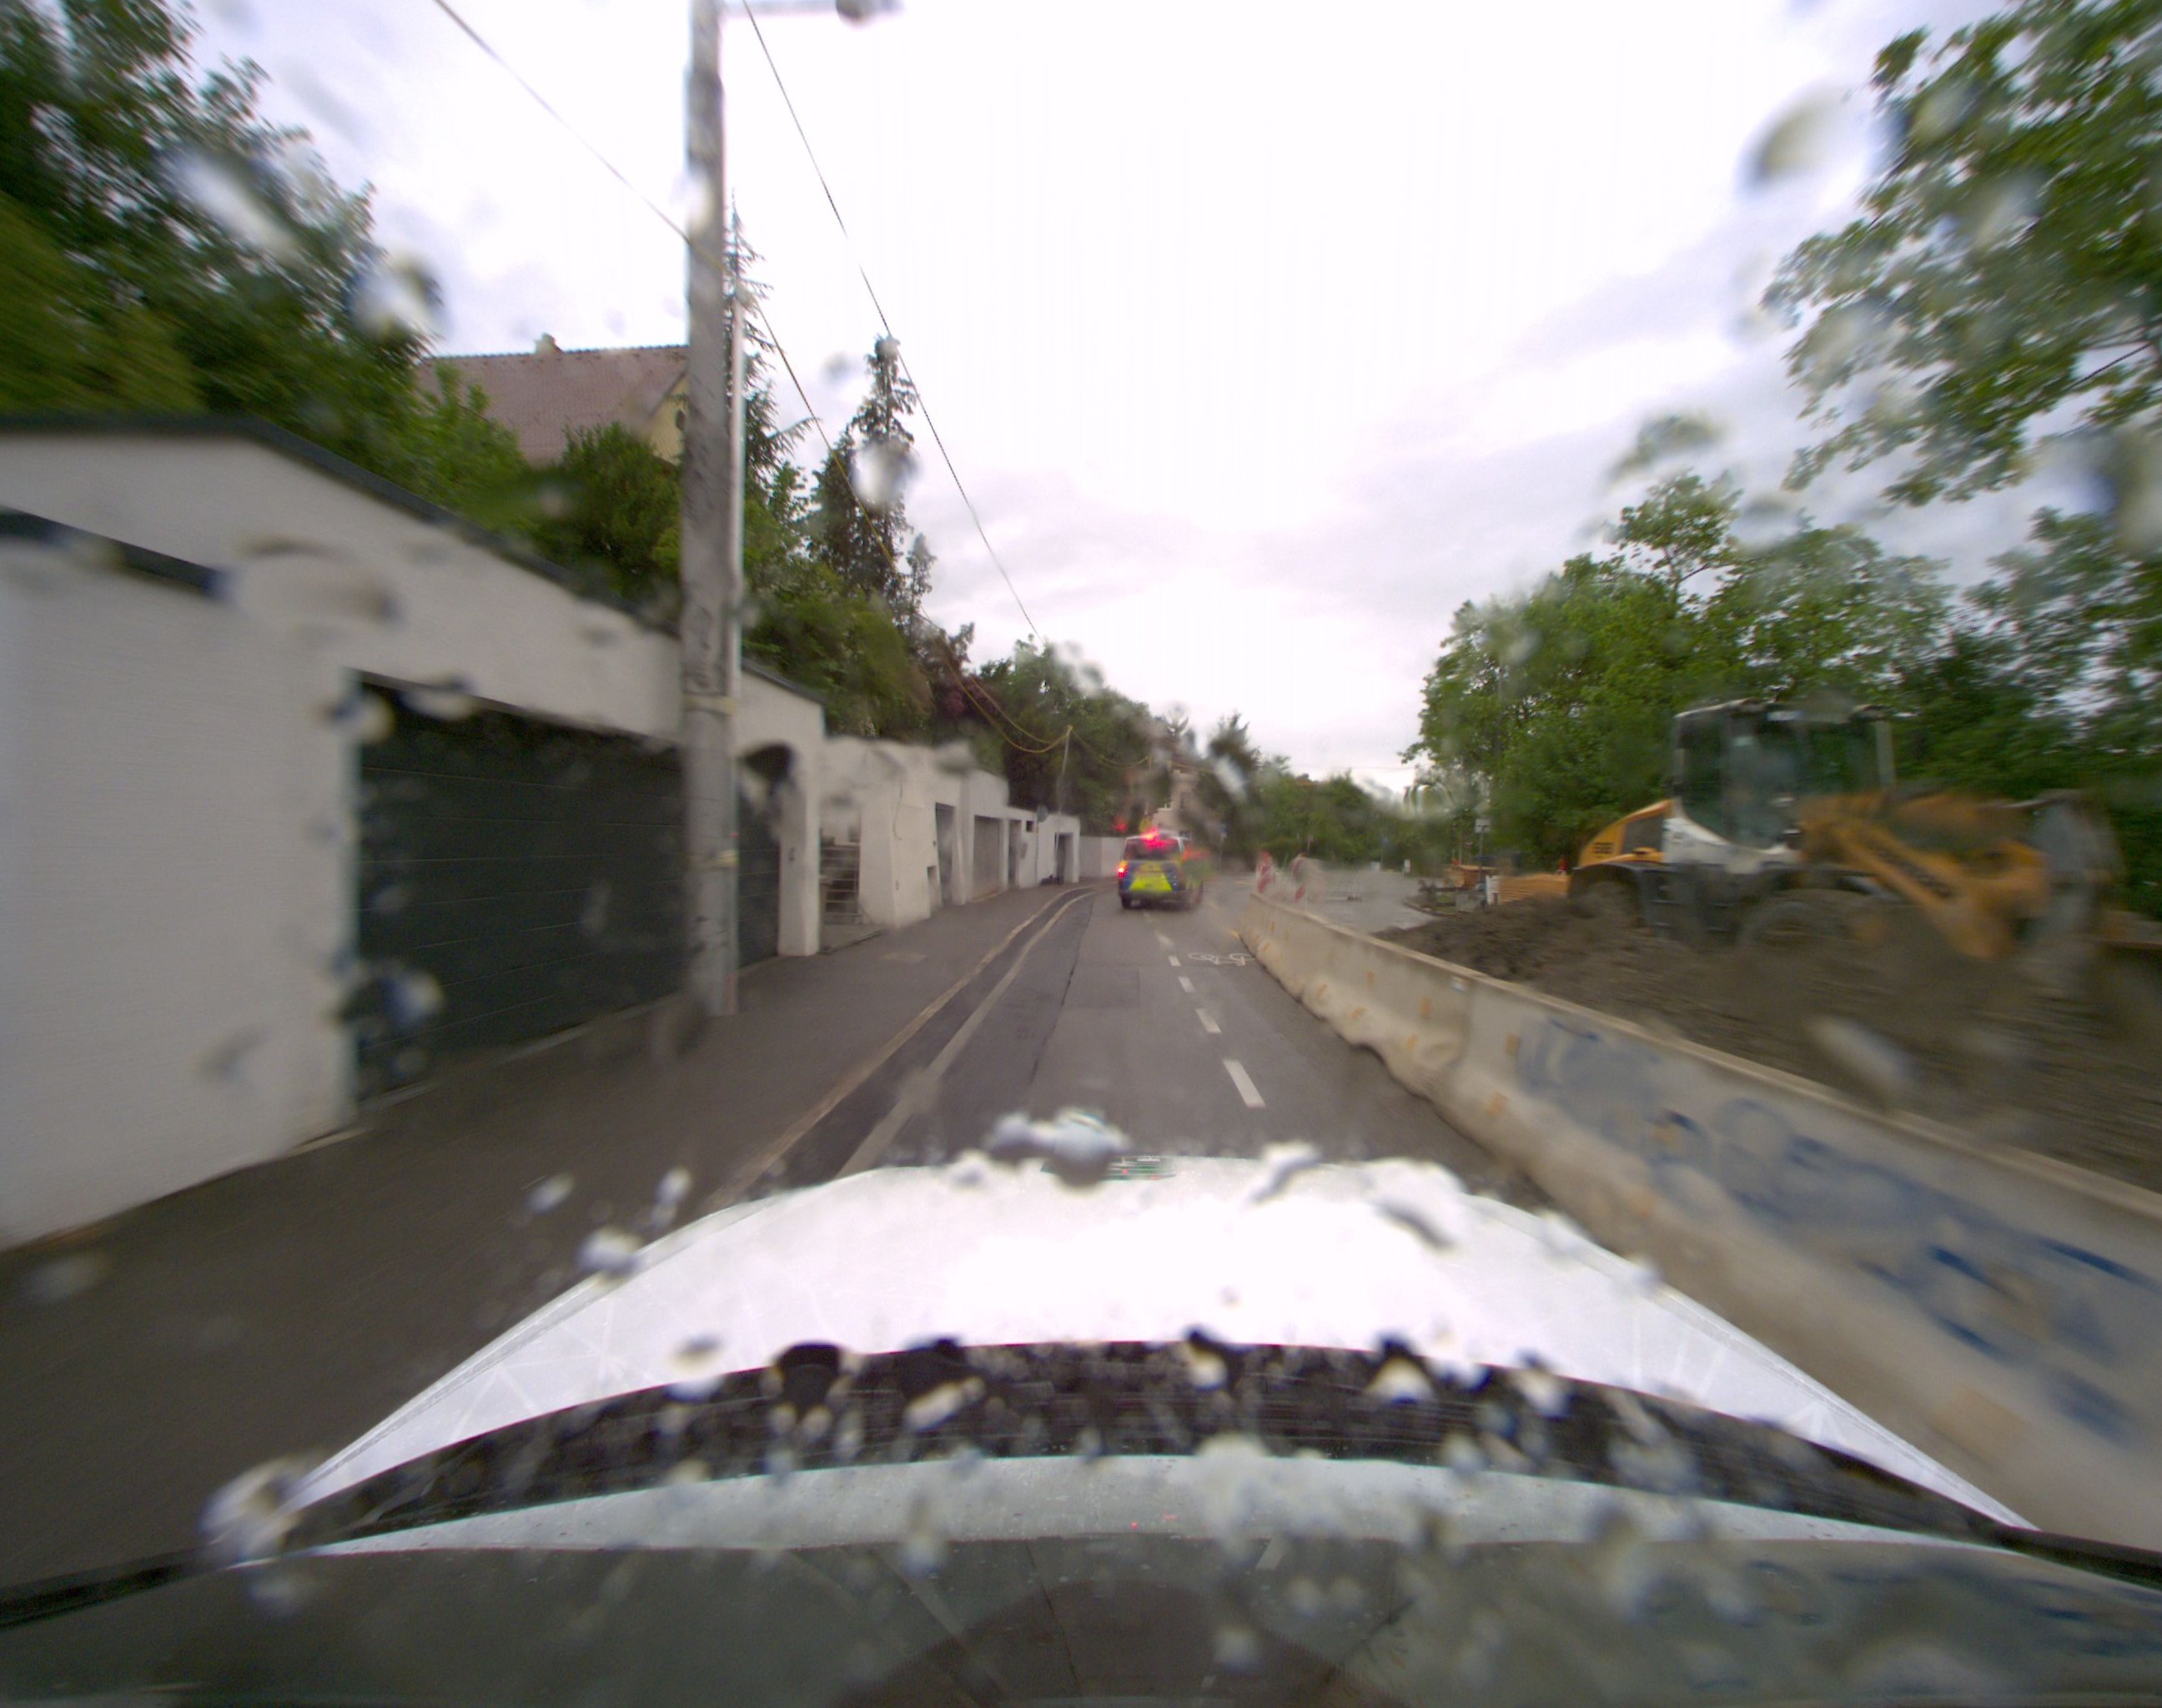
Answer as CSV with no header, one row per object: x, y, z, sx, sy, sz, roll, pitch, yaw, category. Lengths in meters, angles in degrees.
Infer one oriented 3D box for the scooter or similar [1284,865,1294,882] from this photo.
14.776,1.406,57.812,0.462,1.187,1.026,3,-1,3,scooter or similar

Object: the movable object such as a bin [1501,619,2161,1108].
6.707,0.098,8.032,2.483,3.075,5.595,3,-1,5,movable object such as a bin

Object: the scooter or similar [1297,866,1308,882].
15.604,1.404,57.401,0.462,1.144,0.996,3,-1,2,scooter or similar

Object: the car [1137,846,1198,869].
6.296,0.252,59.498,3.949,1.517,1.738,3,-1,32,car

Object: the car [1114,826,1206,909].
2.332,0.393,22.911,1.895,2.010,4.455,3,-1,13,car

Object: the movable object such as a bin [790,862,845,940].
-3.596,0.629,11.142,0.502,1.021,0.523,3,-1,1,movable object such as a bin
